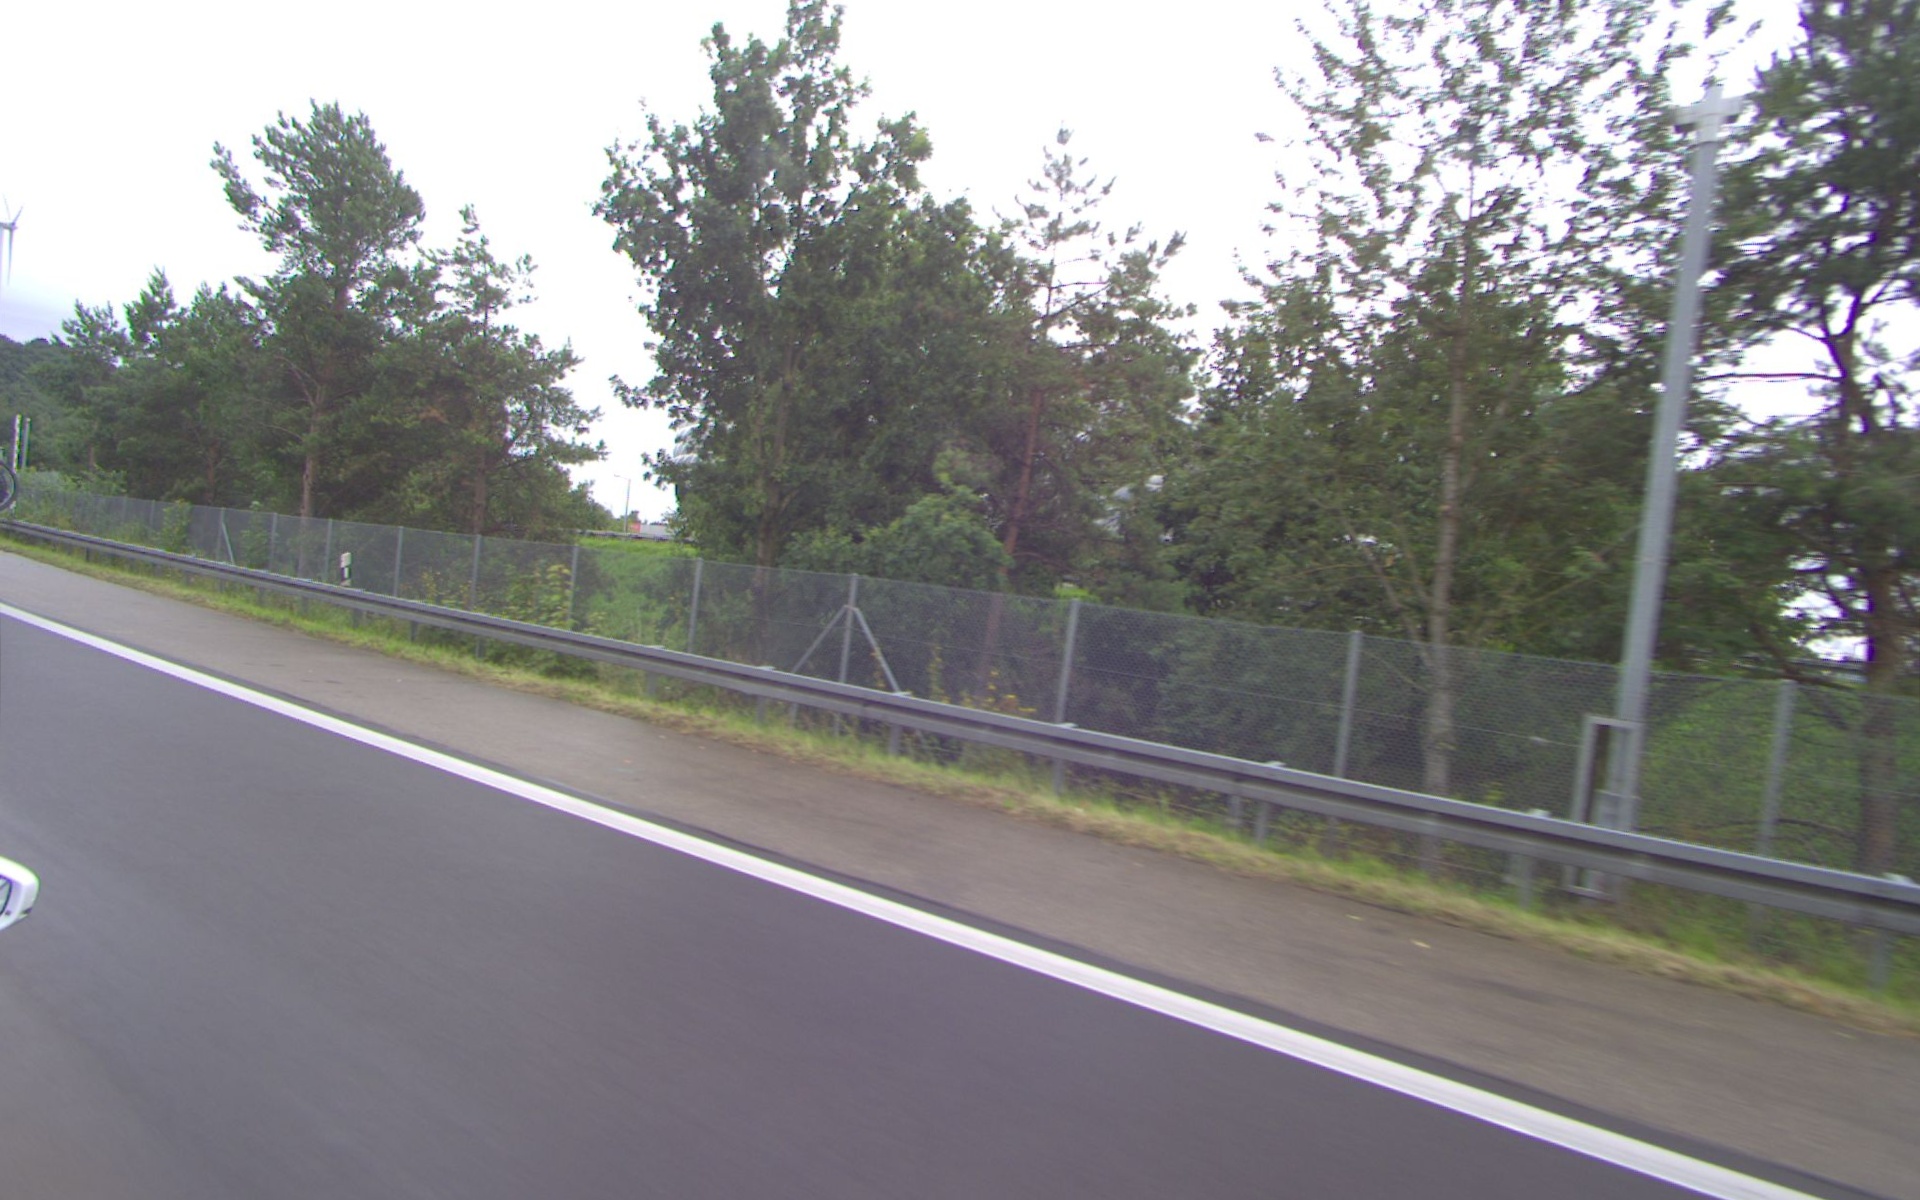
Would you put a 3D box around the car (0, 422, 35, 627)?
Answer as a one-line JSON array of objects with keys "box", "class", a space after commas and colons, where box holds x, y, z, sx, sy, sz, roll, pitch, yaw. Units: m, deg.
[{"box": [-13.643, -1.239, 12.310, 5.804, 2.290, 2.112, 7, -2, 36], "class": "car"}]
